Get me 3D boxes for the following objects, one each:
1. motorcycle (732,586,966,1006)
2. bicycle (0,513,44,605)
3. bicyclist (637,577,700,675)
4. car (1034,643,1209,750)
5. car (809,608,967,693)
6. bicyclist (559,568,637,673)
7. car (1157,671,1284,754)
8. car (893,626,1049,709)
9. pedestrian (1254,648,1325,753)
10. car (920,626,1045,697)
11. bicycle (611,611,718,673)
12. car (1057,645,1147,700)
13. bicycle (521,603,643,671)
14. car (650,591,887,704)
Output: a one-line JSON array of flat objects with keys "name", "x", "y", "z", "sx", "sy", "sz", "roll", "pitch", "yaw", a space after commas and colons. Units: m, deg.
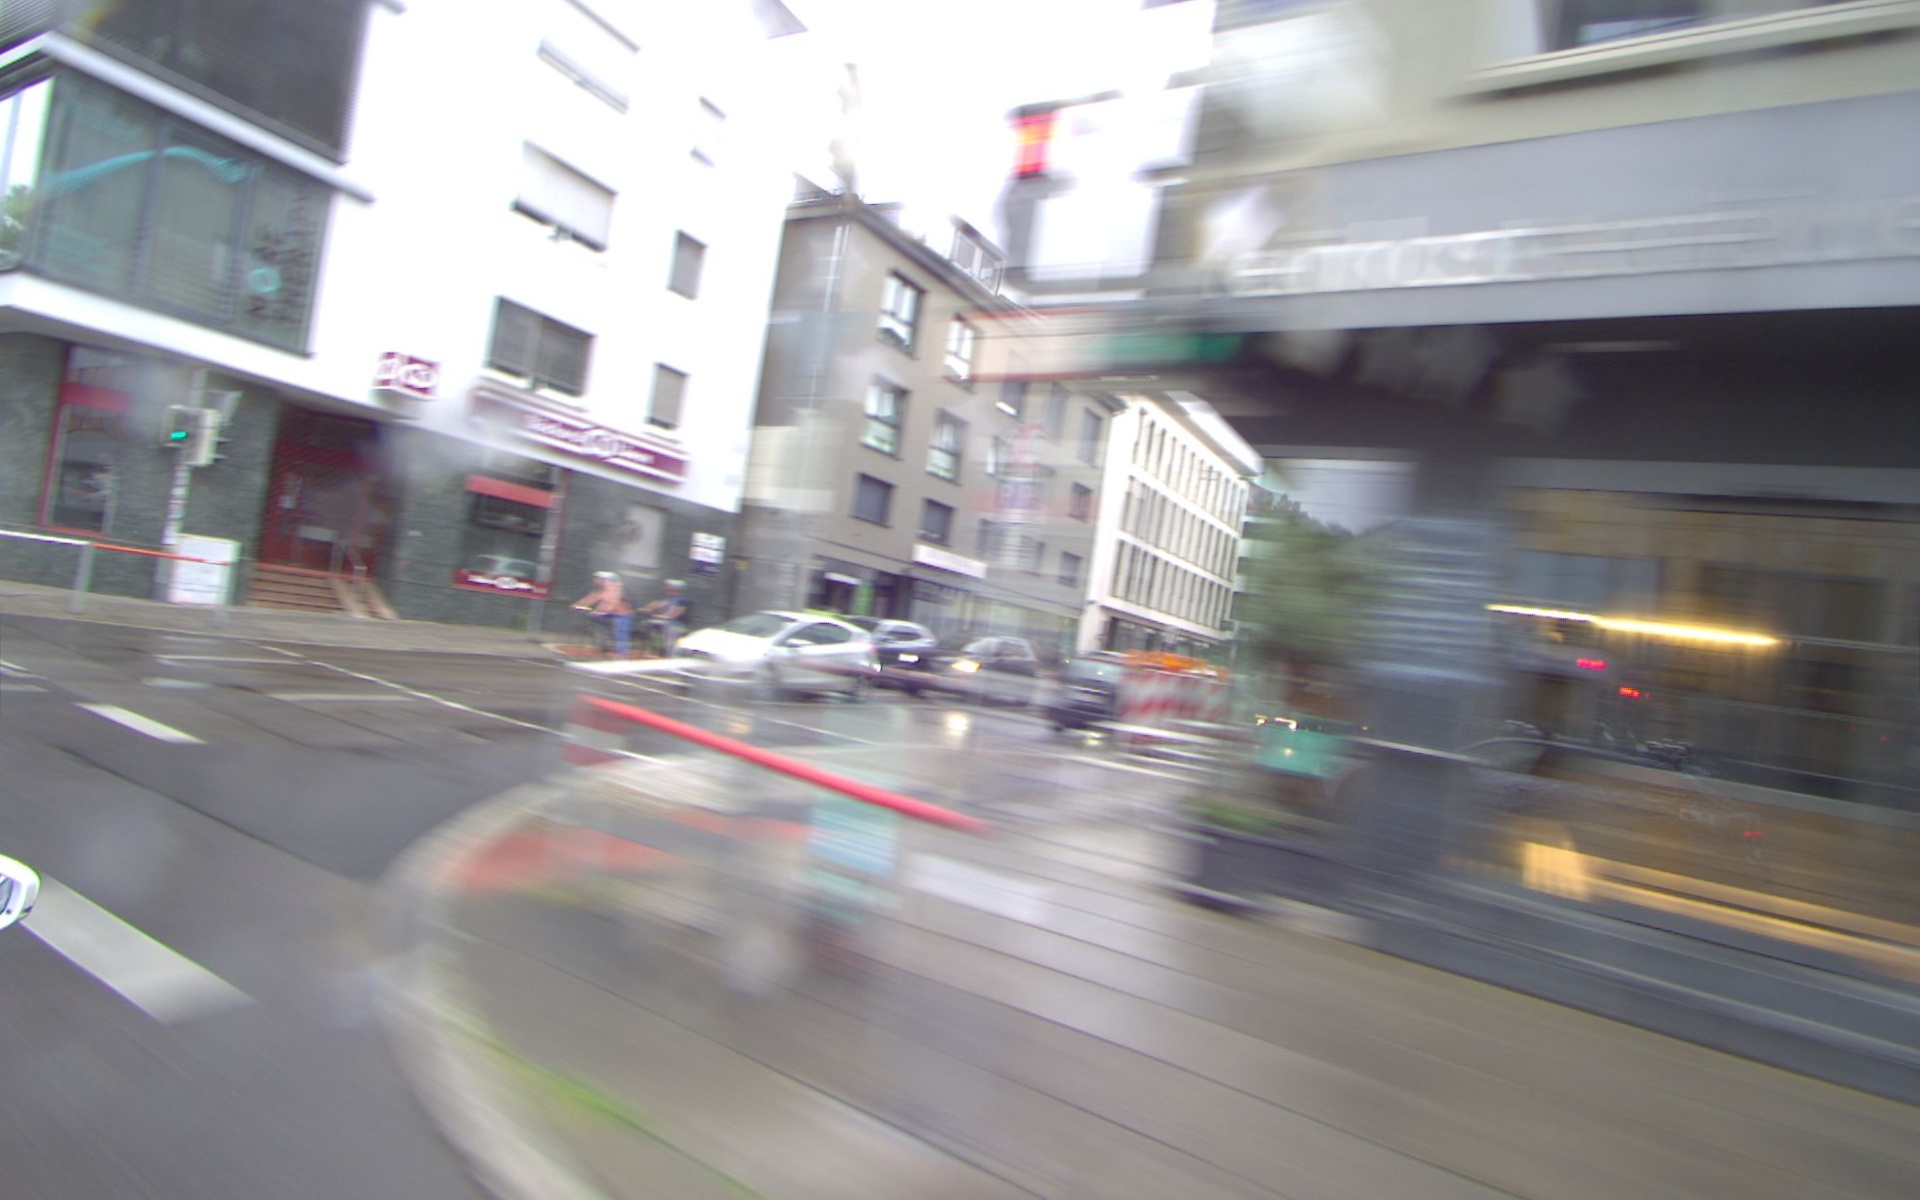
[{"name": "motorcycle", "x": -0.452, "y": 0.743, "z": 4.287, "sx": 0.672, "sy": 1.478, "sz": 1.132, "roll": 8, "pitch": -1, "yaw": -5}, {"name": "bicycle", "x": -13.403, "y": -0.668, "z": 13.229, "sx": 1.922, "sy": 1.170, "sz": 0.578, "roll": 9, "pitch": -2, "yaw": -5}, {"name": "bicyclist", "x": -5.750, "y": 0.522, "z": 19.872, "sx": 0.744, "sy": 1.812, "sz": 0.635, "roll": 7, "pitch": -1, "yaw": 30}, {"name": "car", "x": 3.028, "y": 1.757, "z": 18.176, "sx": 1.693, "sy": 1.504, "sz": 3.976, "roll": 7, "pitch": -2, "yaw": 30}, {"name": "car", "x": -1.710, "y": 1.325, "z": 25.307, "sx": 1.848, "sy": 1.659, "sz": 4.087, "roll": 7, "pitch": -2, "yaw": 30}, {"name": "bicyclist", "x": -6.571, "y": 0.375, "z": 18.291, "sx": 0.744, "sy": 1.766, "sz": 0.842, "roll": 7, "pitch": -1, "yaw": 30}, {"name": "car", "x": 6.076, "y": 2.570, "z": 23.128, "sx": 1.693, "sy": 1.504, "sz": 3.976, "roll": 7, "pitch": -2, "yaw": 30}, {"name": "car", "x": 0.355, "y": 1.617, "z": 23.268, "sx": 1.693, "sy": 1.504, "sz": 4.087, "roll": 7, "pitch": -2, "yaw": 30}, {"name": "pedestrian", "x": 5.448, "y": 1.653, "z": 16.629, "sx": 0.847, "sy": 1.628, "sz": 0.548, "roll": 5, "pitch": -2, "yaw": 35}, {"name": "car", "x": 0.748, "y": 1.835, "z": 29.450, "sx": 1.748, "sy": 1.659, "sz": 4.087, "roll": 7, "pitch": -2, "yaw": 30}, {"name": "bicycle", "x": -5.799, "y": 0.847, "z": 19.869, "sx": 0.743, "sy": 1.022, "sz": 1.985, "roll": 7, "pitch": -2, "yaw": 29}, {"name": "car", "x": 5.354, "y": 2.729, "z": 37.506, "sx": 1.748, "sy": 1.659, "sz": 4.087, "roll": 7, "pitch": -2, "yaw": 30}, {"name": "bicycle", "x": -6.747, "y": 0.686, "z": 18.047, "sx": 0.743, "sy": 1.022, "sz": 1.930, "roll": 7, "pitch": -2, "yaw": 29}, {"name": "car", "x": -3.137, "y": 0.888, "z": 17.322, "sx": 1.693, "sy": 1.504, "sz": 3.976, "roll": 7, "pitch": -2, "yaw": 30}]
